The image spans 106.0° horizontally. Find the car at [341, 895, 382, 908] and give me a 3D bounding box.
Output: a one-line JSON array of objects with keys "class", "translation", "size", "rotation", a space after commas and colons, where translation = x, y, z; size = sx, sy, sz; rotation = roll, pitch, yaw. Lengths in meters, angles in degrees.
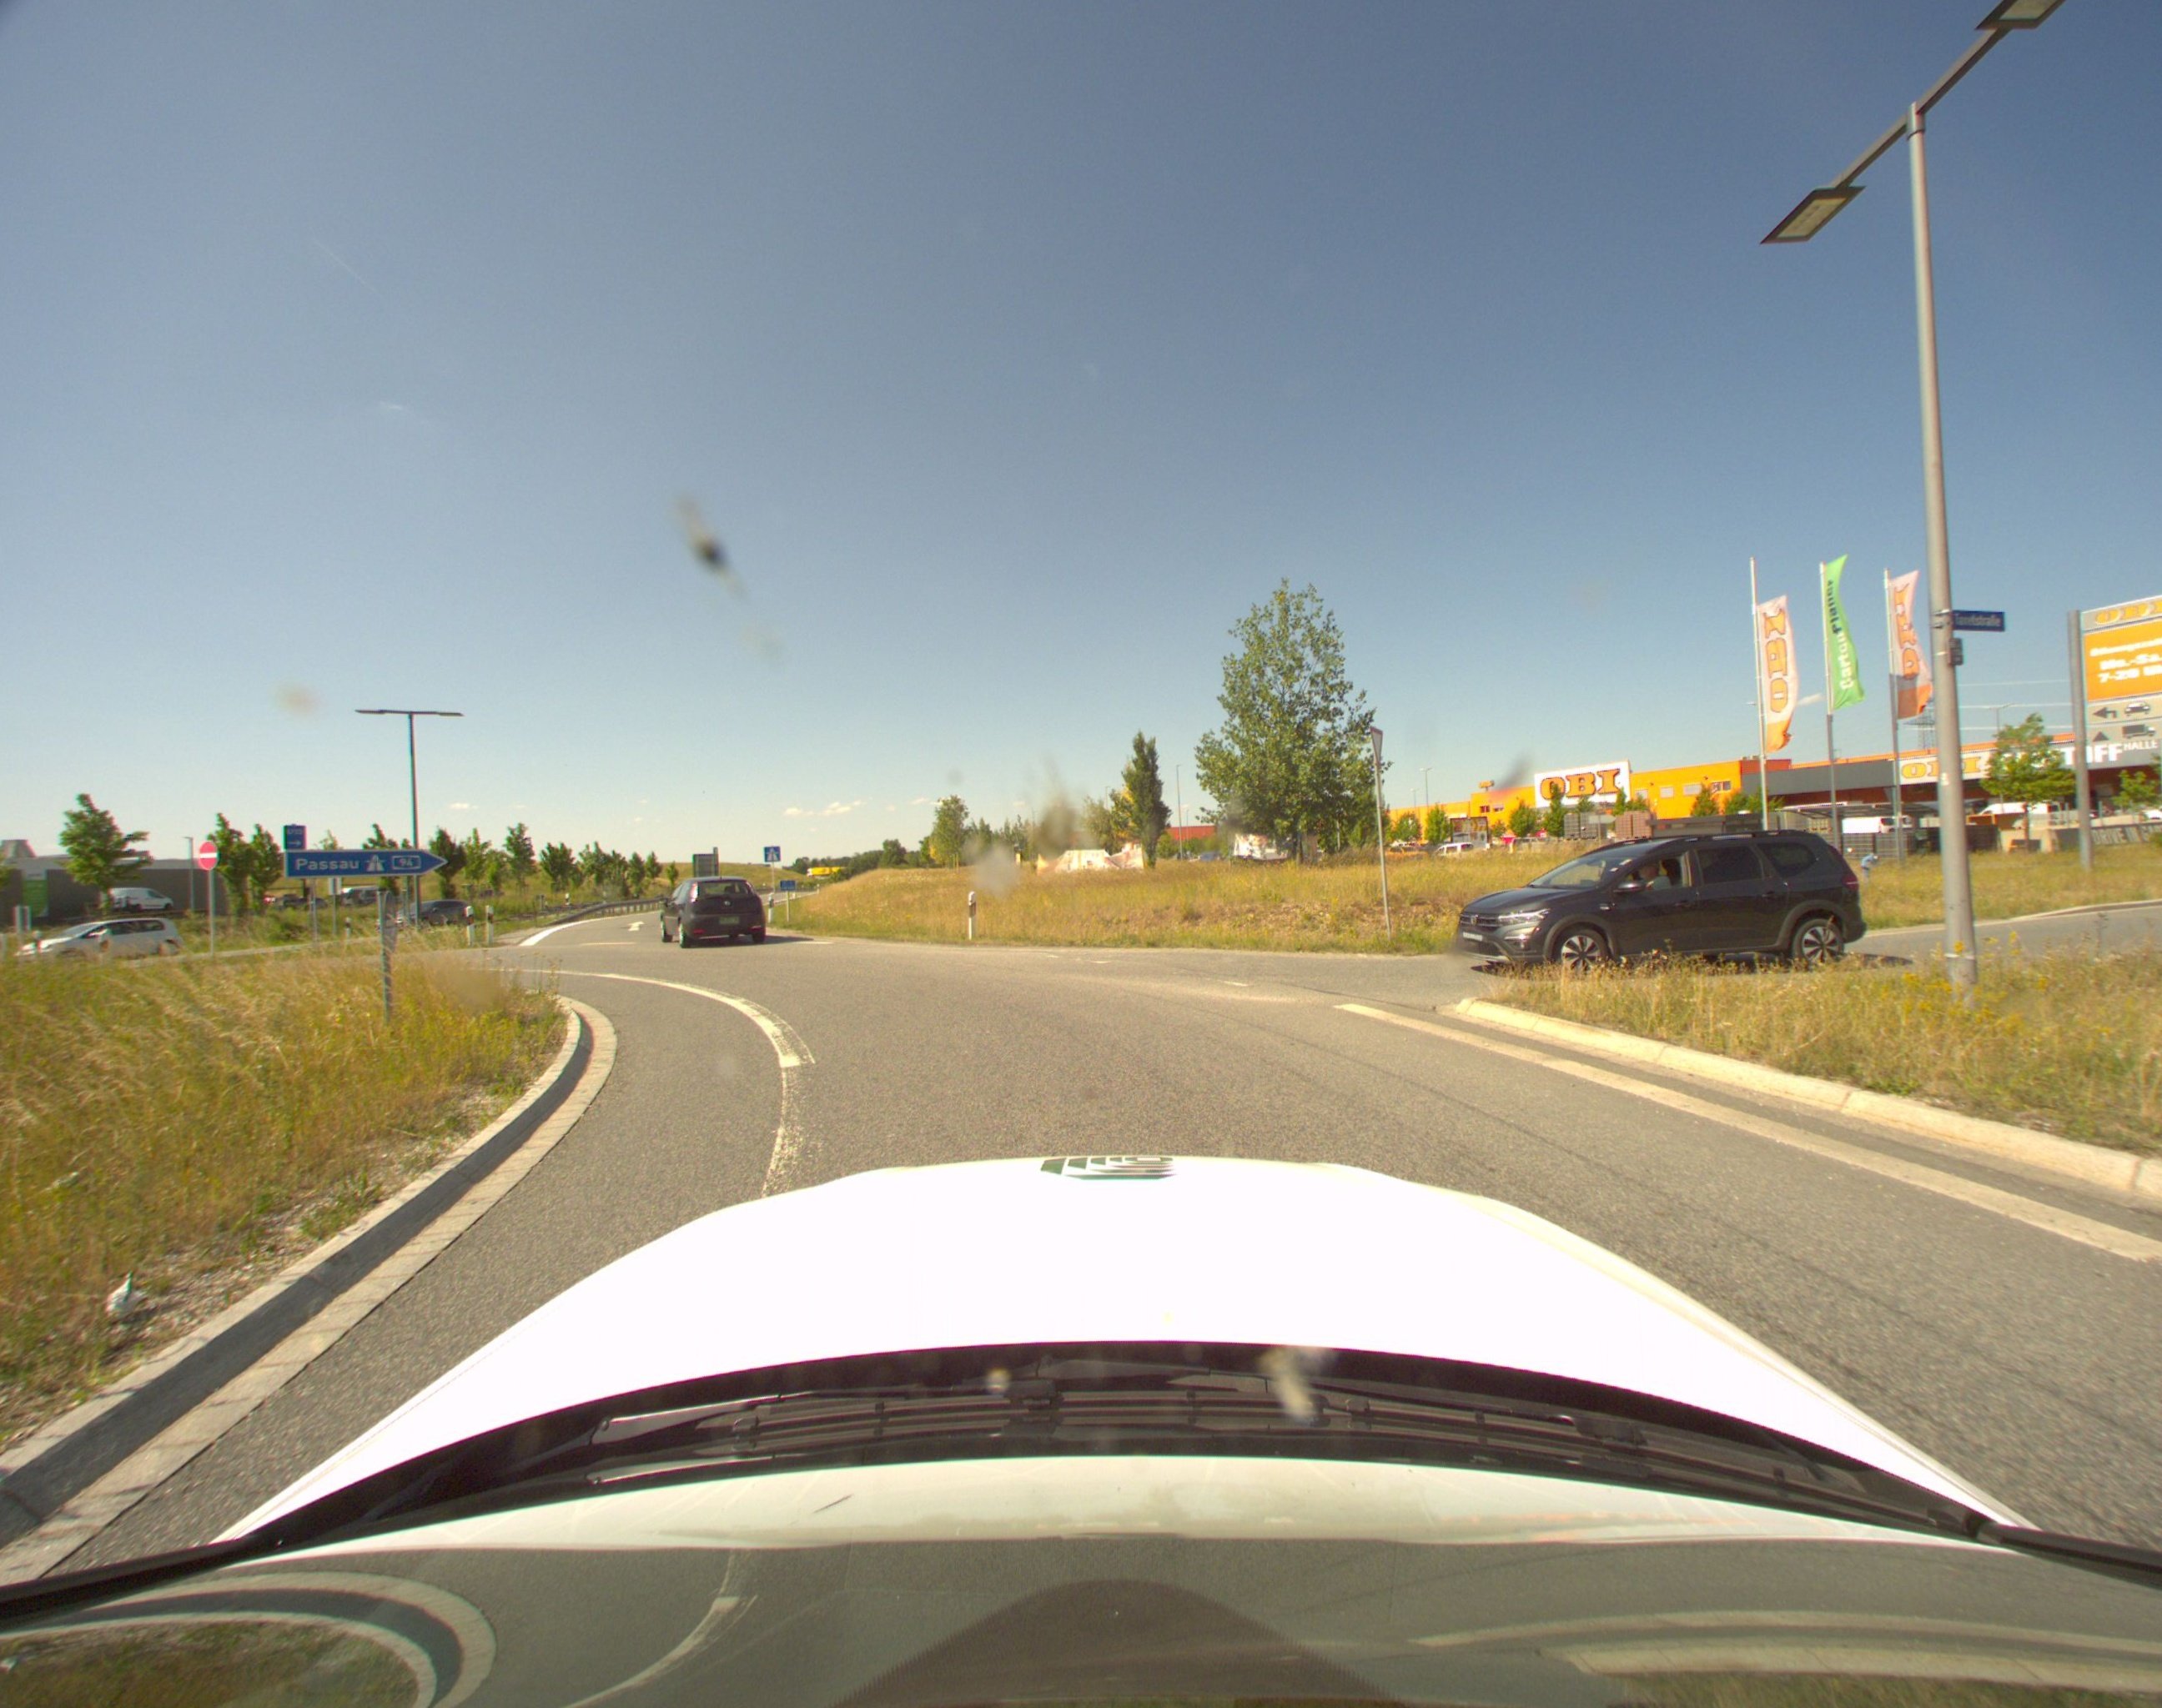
[{"class": "car", "translation": [-72.799, 4.793, 82.404], "size": [2.708, 1.009, 1.374], "rotation": [-3, 0, -18]}]

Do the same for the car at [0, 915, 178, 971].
[{"class": "car", "translation": [-32.963, 2.919, 27.066], "size": [1.680, 1.413, 3.588], "rotation": [-3, 0, 5]}]

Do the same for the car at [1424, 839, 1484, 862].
[{"class": "car", "translation": [29.905, -0.283, 65.342], "size": [2.004, 1.618, 3.965], "rotation": [-3, 0, -26]}]

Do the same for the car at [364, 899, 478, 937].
[{"class": "car", "translation": [-31.932, 3.063, 39.573], "size": [1.680, 1.413, 4.372], "rotation": [-3, 0, 5]}]

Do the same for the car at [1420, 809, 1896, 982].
[{"class": "car", "translation": [6.970, 0.474, 10.183], "size": [4.603, 1.706, 1.954], "rotation": [-3, -2, -4]}]

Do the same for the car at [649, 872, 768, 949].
[{"class": "car", "translation": [-8.456, 1.209, 18.317], "size": [1.652, 1.488, 3.860], "rotation": [-2, -1, -37]}]

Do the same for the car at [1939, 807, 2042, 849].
[{"class": "car", "translation": [41.718, -1.176, 37.374], "size": [3.770, 1.841, 1.691], "rotation": [-1, -1, -17]}]

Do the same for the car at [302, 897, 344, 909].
[{"class": "car", "translation": [-74.647, 4.805, 80.181], "size": [2.708, 1.009, 1.239], "rotation": [-3, 0, -18]}]

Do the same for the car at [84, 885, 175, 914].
[{"class": "car", "translation": [-65.343, 3.075, 56.020], "size": [1.995, 1.732, 3.984], "rotation": [-3, 0, -12]}]
